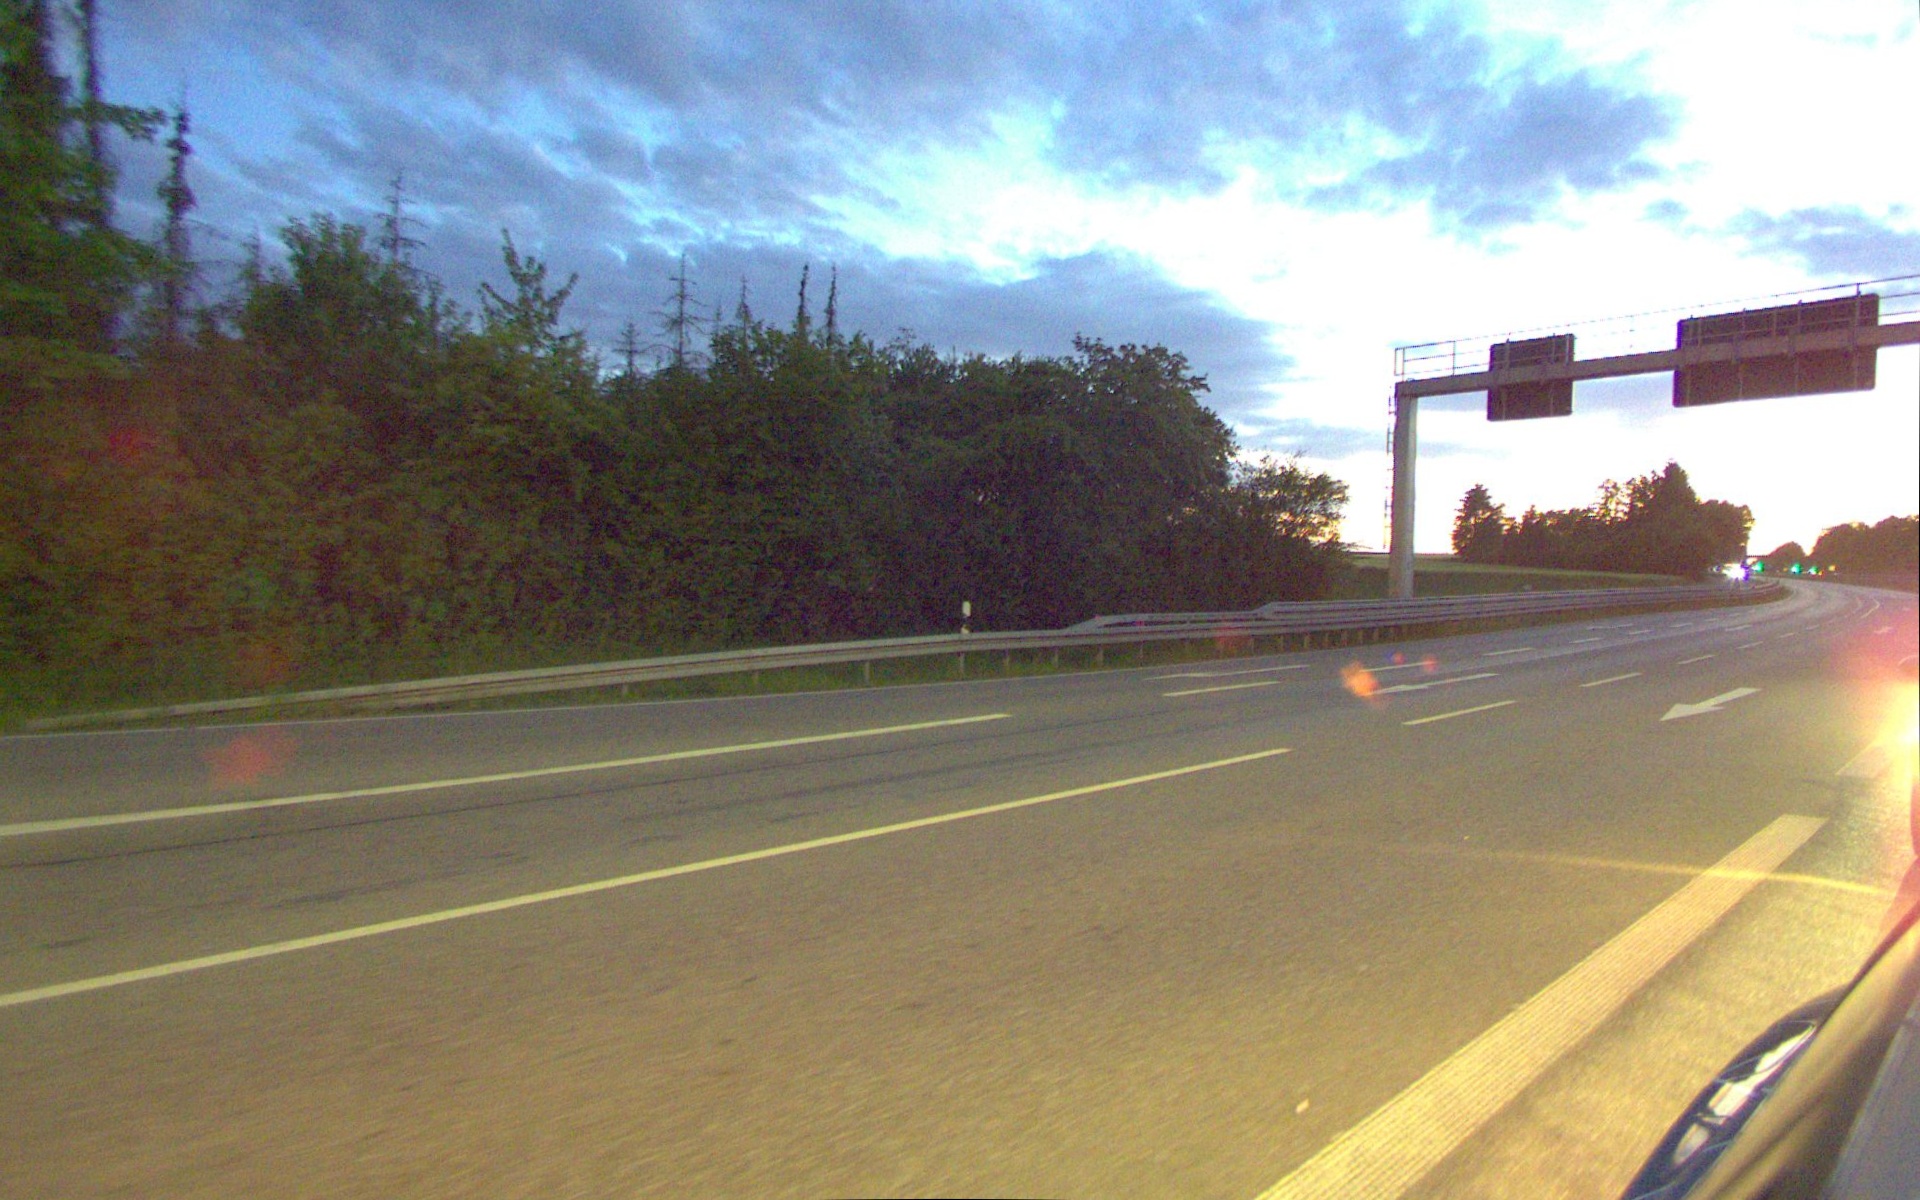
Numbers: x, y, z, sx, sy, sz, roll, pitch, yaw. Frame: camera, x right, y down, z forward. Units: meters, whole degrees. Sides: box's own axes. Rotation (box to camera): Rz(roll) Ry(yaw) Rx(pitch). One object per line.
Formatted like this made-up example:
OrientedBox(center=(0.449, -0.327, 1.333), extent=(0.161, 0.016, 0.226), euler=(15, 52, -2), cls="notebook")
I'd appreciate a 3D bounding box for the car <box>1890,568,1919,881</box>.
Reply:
OrientedBox(center=(6.493, 0.582, 5.414), extent=(3.707, 1.499, 1.670), euler=(-1, 1, -38), cls="car")
